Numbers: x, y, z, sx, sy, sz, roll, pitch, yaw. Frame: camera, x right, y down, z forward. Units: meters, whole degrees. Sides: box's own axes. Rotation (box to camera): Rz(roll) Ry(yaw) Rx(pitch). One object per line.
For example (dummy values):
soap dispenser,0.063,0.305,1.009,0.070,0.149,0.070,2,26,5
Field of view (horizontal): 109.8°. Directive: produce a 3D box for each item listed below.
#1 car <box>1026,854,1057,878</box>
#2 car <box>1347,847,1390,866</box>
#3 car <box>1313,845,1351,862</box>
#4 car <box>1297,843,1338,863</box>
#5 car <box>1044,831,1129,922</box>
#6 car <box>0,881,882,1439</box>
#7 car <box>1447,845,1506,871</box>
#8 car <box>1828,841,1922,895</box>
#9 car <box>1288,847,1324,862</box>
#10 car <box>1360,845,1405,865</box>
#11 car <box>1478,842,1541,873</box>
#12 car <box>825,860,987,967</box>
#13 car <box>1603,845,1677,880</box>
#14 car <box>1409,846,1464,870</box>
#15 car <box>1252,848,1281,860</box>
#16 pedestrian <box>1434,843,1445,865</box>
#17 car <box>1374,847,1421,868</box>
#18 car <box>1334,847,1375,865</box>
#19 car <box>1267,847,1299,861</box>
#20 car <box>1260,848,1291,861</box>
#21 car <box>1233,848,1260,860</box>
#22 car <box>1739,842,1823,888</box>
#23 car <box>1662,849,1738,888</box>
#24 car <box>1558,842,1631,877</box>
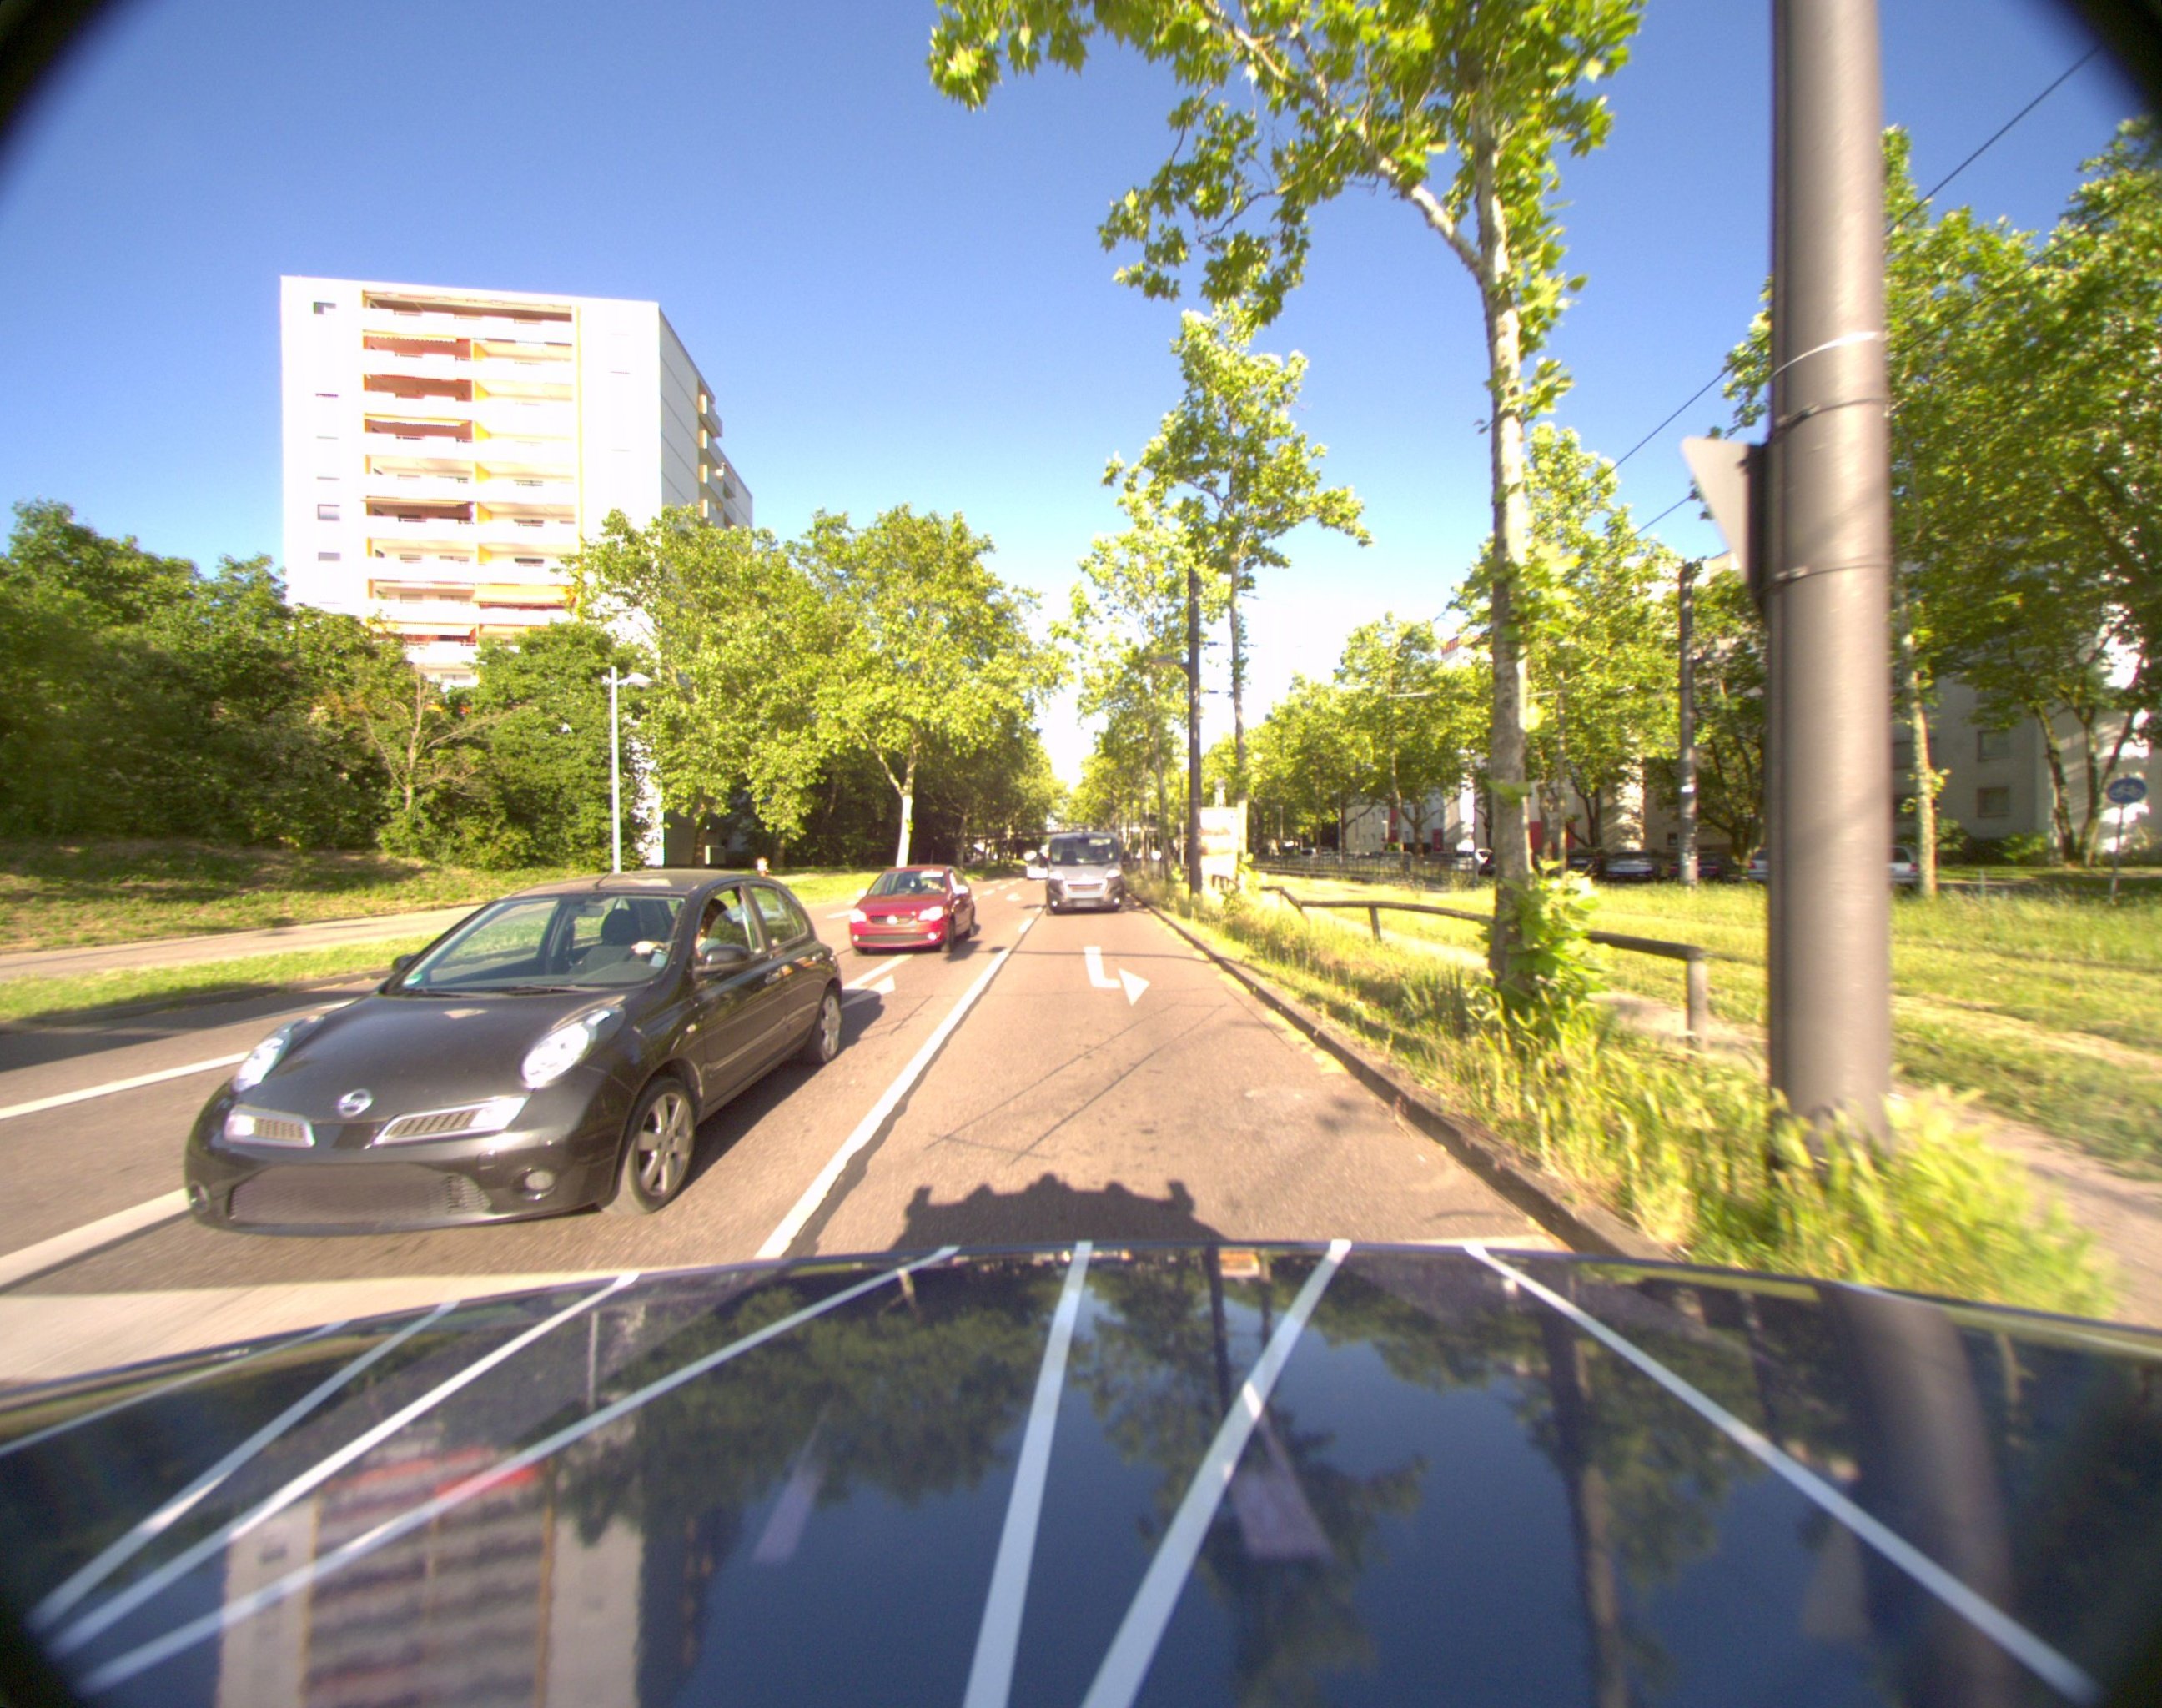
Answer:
car,-2.800,0.800,52.589,1.914,1.549,4.724,-1,0,-6
car,24.668,0.222,65.200,4.057,1.490,1.791,-2,0,-43
car,24.571,-0.069,74.428,4.057,1.490,1.791,-2,0,-43
car,24.051,-0.159,77.293,4.441,1.908,2.016,-2,0,-43
car,0.074,0.536,21.348,2.040,2.191,5.660,-1,0,-1
car,-2.659,0.989,4.561,1.739,1.474,4.622,-1,0,-1
car,24.459,0.256,46.937,4.057,1.490,1.791,-2,0,-40
car,24.171,0.391,23.087,4.057,1.478,1.810,-2,0,-42
car,23.877,0.051,80.639,4.057,1.490,1.791,-2,0,-43
car,24.623,0.069,62.001,4.057,1.490,1.791,-2,0,-43
car,24.493,0.197,43.348,4.057,1.654,1.791,-2,0,-40
car,-2.916,0.914,13.785,1.772,1.549,4.726,-1,0,1
car,24.418,0.352,33.125,4.057,1.379,1.791,-2,0,-42
car,23.799,0.241,50.798,4.057,1.490,1.791,-2,0,-40
car,24.354,-0.023,99.637,4.057,1.490,1.791,-2,0,-43
pedestrian,32.662,0.011,69.266,0.681,2.002,0.645,-1,1,-4
car,24.248,0.276,58.147,4.057,1.490,1.791,-2,0,-43
car,24.495,0.184,67.947,4.057,1.490,1.791,-2,0,-43
car,23.841,0.009,89.579,4.057,1.490,1.791,-2,0,-43
car,23.808,0.007,92.957,4.057,1.490,1.791,-2,0,-43
car,24.000,-0.004,109.871,4.057,1.490,1.791,-2,0,-43
car,24.717,0.361,26.786,4.057,1.478,1.760,-2,0,-42
car,24.246,0.534,29.719,4.057,1.379,1.673,-2,0,-42
car,24.439,0.251,36.111,4.057,1.490,1.791,-2,0,-40
